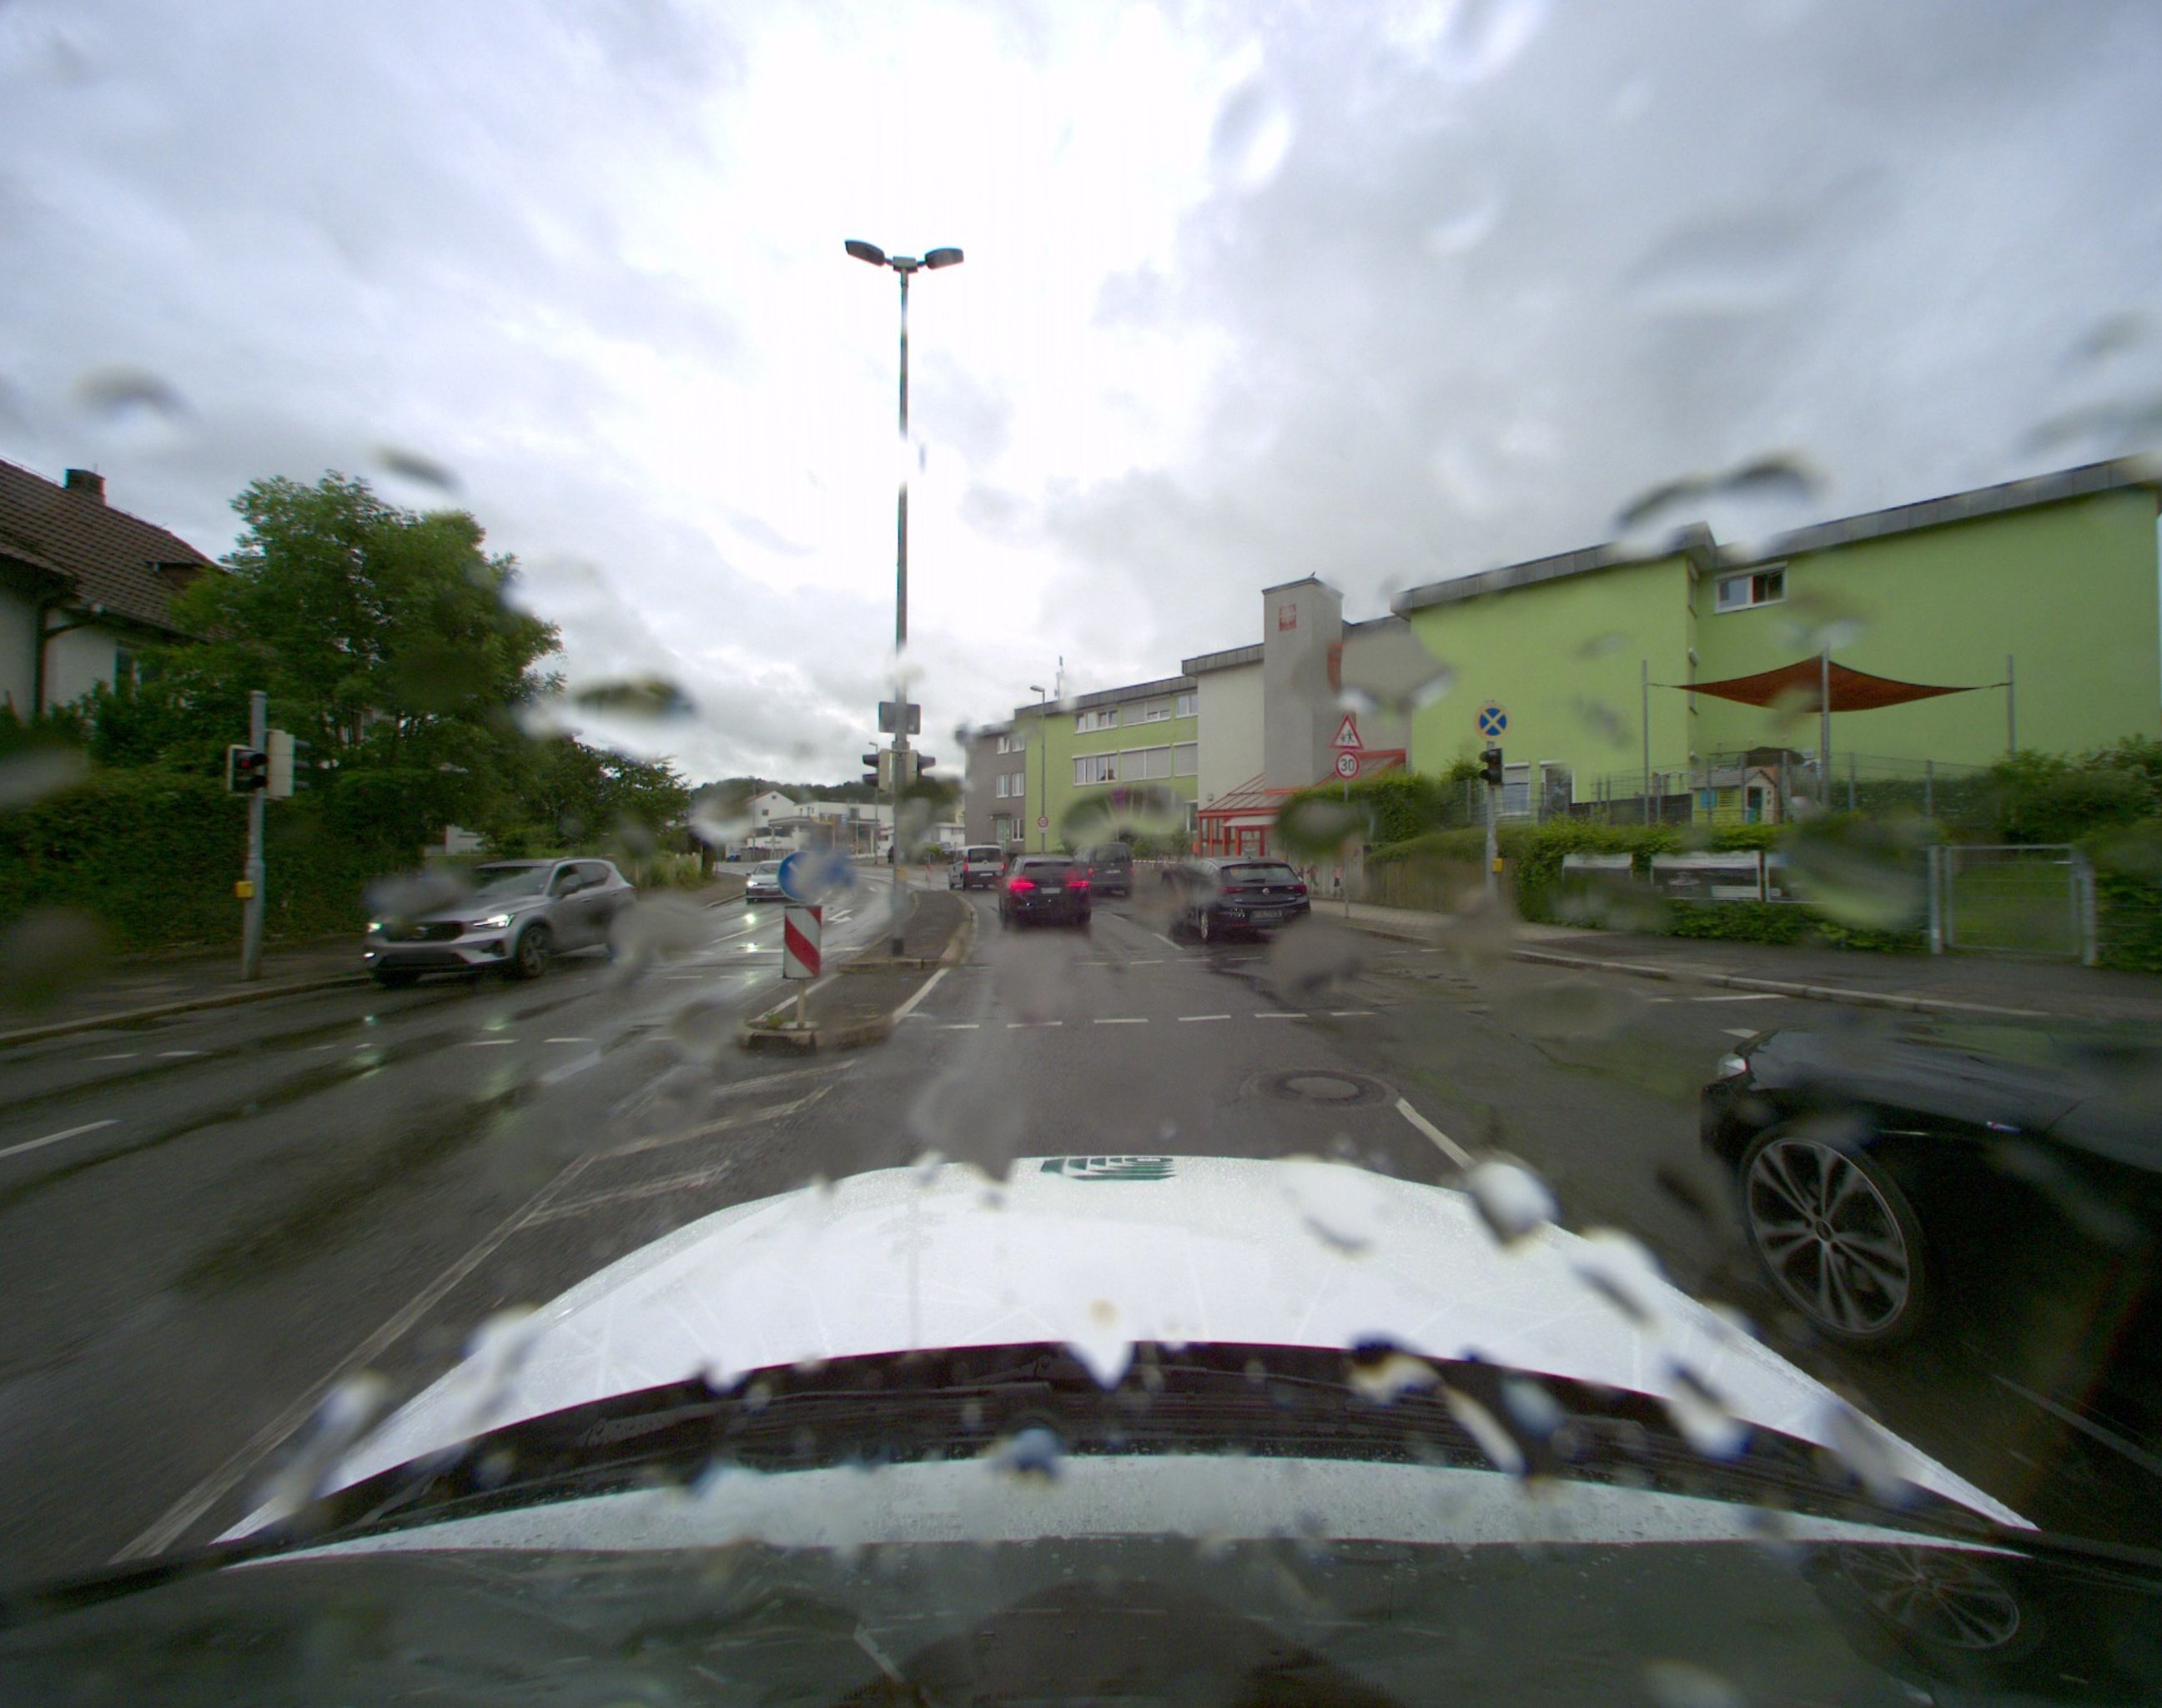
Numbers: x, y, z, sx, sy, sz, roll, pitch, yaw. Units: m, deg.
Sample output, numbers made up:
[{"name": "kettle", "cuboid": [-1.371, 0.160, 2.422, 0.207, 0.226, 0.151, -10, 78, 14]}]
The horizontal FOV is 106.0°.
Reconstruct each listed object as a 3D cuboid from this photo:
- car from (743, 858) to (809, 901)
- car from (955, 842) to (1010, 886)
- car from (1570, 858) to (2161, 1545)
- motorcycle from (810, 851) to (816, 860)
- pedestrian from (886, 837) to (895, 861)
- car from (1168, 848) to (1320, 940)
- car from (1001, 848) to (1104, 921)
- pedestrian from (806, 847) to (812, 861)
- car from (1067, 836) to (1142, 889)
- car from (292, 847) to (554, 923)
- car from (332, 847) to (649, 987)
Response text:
[{"name": "car", "cuboid": [-11.349, 0.936, 30.566, 1.678, 1.450, 4.667, 0, -1, -13]}, {"name": "car", "cuboid": [-4.252, 0.442, 34.581, 1.995, 1.738, 3.983, 0, -1, -12]}, {"name": "car", "cuboid": [3.160, 0.704, 1.370, 1.860, 1.424, 4.739, -1, -1, 1]}, {"name": "motorcycle", "cuboid": [-32.414, 0.235, 98.424, 0.465, 1.055, 1.377, 0, -2, -30]}, {"name": "pedestrian", "cuboid": [-16.415, -0.425, 70.178, 0.610, 2.014, 0.718, -1, -2, 4]}, {"name": "car", "cuboid": [2.827, 0.646, 15.043, 1.753, 1.449, 3.994, 0, 0, -4]}, {"name": "car", "cuboid": [-0.776, 0.667, 18.728, 1.992, 1.484, 3.989, 0, -1, -8]}, {"name": "pedestrian", "cuboid": [-32.850, -0.037, 98.220, 0.613, 1.656, 0.580, 0, -2, -30]}, {"name": "car", "cuboid": [0.753, 0.321, 28.887, 1.839, 1.767, 3.985, 0, -1, -11]}, {"name": "car", "cuboid": [-14.420, 0.677, 18.140, 3.991, 1.395, 1.924, 4, -1, -13]}, {"name": "car", "cuboid": [-8.302, 0.808, 12.046, 1.880, 1.678, 4.222, 0, -1, -6]}]
